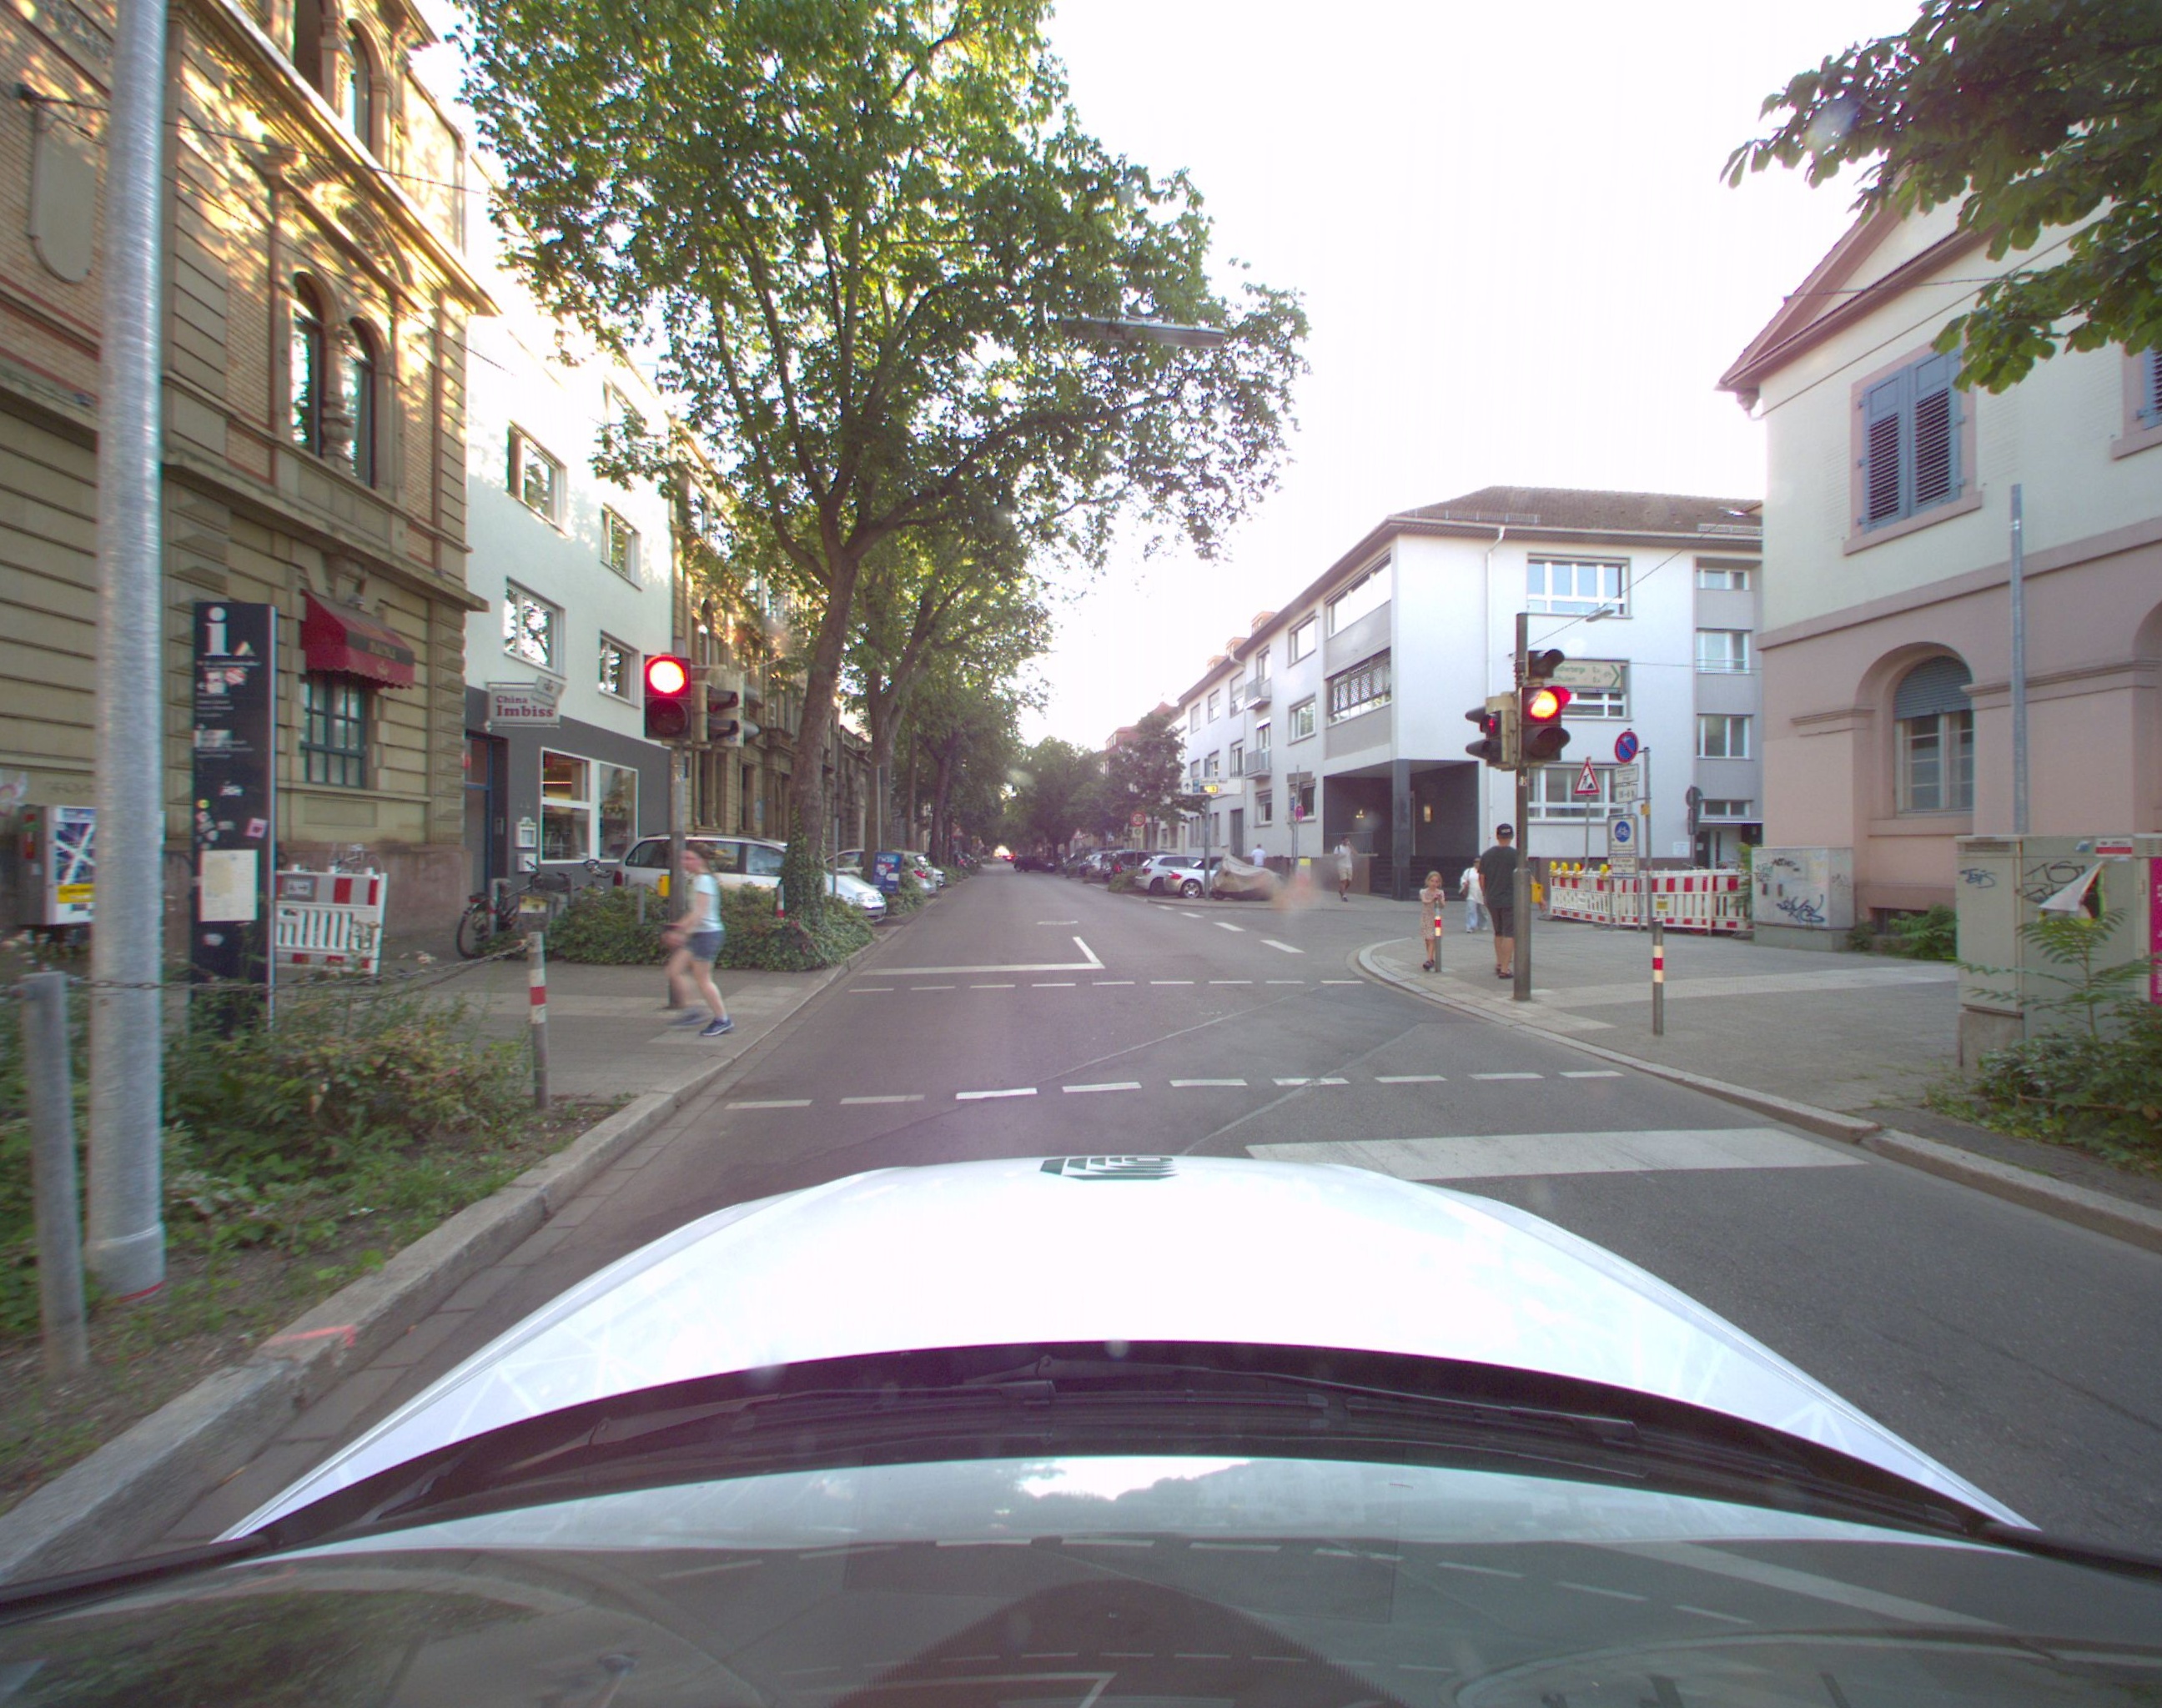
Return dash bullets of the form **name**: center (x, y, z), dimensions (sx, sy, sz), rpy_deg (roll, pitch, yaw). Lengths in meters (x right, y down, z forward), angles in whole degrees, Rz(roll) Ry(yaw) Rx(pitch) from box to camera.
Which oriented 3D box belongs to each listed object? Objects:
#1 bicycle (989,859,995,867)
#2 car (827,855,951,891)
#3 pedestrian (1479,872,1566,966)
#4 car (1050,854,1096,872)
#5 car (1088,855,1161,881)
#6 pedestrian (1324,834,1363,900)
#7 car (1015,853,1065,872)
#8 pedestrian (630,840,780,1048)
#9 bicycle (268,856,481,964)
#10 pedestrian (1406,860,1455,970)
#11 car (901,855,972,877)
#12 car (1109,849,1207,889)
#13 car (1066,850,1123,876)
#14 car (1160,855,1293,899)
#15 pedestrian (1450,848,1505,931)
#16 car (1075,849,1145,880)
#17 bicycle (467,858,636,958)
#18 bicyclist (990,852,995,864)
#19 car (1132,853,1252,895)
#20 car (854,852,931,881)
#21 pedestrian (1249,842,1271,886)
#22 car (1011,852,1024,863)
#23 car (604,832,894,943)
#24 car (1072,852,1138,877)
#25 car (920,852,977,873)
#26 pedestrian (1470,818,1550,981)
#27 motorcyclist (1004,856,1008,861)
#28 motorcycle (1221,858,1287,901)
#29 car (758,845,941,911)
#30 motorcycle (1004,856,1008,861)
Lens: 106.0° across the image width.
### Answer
- **bicycle**: center (-10.974, 1.069, 100.610), dimensions (0.571, 0.949, 1.737), rpy_deg (1, -1, -11)
- **car**: center (-7.574, 0.740, 32.494), dimensions (4.541, 1.372, 1.830), rpy_deg (0, 0, -6)
- **pedestrian**: center (5.724, 0.821, 10.588), dimensions (0.566, 1.121, 0.833), rpy_deg (-1, 1, -15)
- **car**: center (-0.749, 0.783, 74.059), dimensions (4.009, 1.602, 1.703), rpy_deg (0, 0, -6)
- **car**: center (2.470, 0.799, 46.865), dimensions (4.009, 1.409, 1.703), rpy_deg (-1, 0, -6)
- **pedestrian**: center (7.535, 0.368, 23.383), dimensions (0.766, 1.841, 0.942), rpy_deg (0, 0, -5)
- **car**: center (-3.594, 0.759, 71.870), dimensions (3.948, 1.578, 1.918), rpy_deg (1, 0, 16)
- **pedestrian**: center (-3.074, 0.689, 6.653), dimensions (0.983, 1.557, 0.694), rpy_deg (3, -1, -32)
- **bicycle**: center (-8.893, 0.637, 10.447), dimensions (0.635, 1.202, 2.560), rpy_deg (0, 0, -4)
- **pedestrian**: center (4.399, 0.747, 10.270), dimensions (0.501, 1.336, 0.543), rpy_deg (0, 0, 17)
- **car**: center (-9.685, 0.795, 54.866), dimensions (4.541, 1.410, 1.830), rpy_deg (0, 0, -6)
- **car**: center (3.329, 0.636, 35.643), dimensions (4.009, 1.690, 1.703), rpy_deg (-1, 0, -6)
- **car**: center (0.938, 0.642, 59.191), dimensions (4.009, 1.830, 1.703), rpy_deg (0, 0, -6)
- **car**: center (4.720, 0.718, 26.734), dimensions (4.008, 1.342, 1.704), rpy_deg (-1, 0, -6)
- **pedestrian**: center (7.502, 0.646, 15.412), dimensions (0.766, 1.501, 0.807), rpy_deg (1, 1, 38)
- **car**: center (1.713, 0.633, 49.097), dimensions (4.009, 1.815, 1.703), rpy_deg (-1, 0, -6)
- **bicycle**: center (-7.115, 0.656, 11.149), dimensions (0.733, 1.186, 2.630), rpy_deg (1, 0, -5)
- **bicyclist**: center (-11.001, 0.507, 100.772), dimensions (0.571, 1.470, 0.640), rpy_deg (1, -1, -12)
- **car**: center (3.949, 0.692, 29.280), dimensions (4.009, 1.442, 1.703), rpy_deg (-1, 0, -6)
- **car**: center (-10.722, 0.724, 46.488), dimensions (4.033, 1.590, 1.830), rpy_deg (0, 0, -6)
- **pedestrian**: center (7.205, 0.404, 32.804), dimensions (0.702, 1.752, 0.699), rpy_deg (0, 0, -2)
- **car**: center (-9.681, 0.512, 124.919), dimensions (1.823, 1.561, 4.018), rpy_deg (1, 0, -6)
- **car**: center (-5.801, 0.549, 14.779), dimensions (4.546, 1.835, 1.828), rpy_deg (0, 0, -9)
- **car**: center (1.498, 0.671, 51.942), dimensions (4.009, 1.530, 1.703), rpy_deg (0, 0, -6)
- **car**: center (-10.873, 0.701, 67.014), dimensions (4.541, 1.691, 1.830), rpy_deg (0, 0, -6)
- **pedestrian**: center (5.054, 0.488, 9.599), dimensions (0.784, 1.815, 0.897), rpy_deg (0, 2, 29)
- **motorcyclist**: center (-17.693, 1.004, 191.374), dimensions (0.817, 1.236, 0.848), rpy_deg (1, 0, -6)
- **motorcycle**: center (4.983, 0.739, 23.549), dimensions (1.792, 1.199, 0.613), rpy_deg (-1, 0, 3)
- **car**: center (-6.209, 0.610, 22.313), dimensions (4.541, 1.689, 1.830), rpy_deg (0, 0, -6)
- **motorcycle**: center (-17.704, 1.006, 191.464), dimensions (0.817, 1.236, 2.021), rpy_deg (1, 0, -6)
